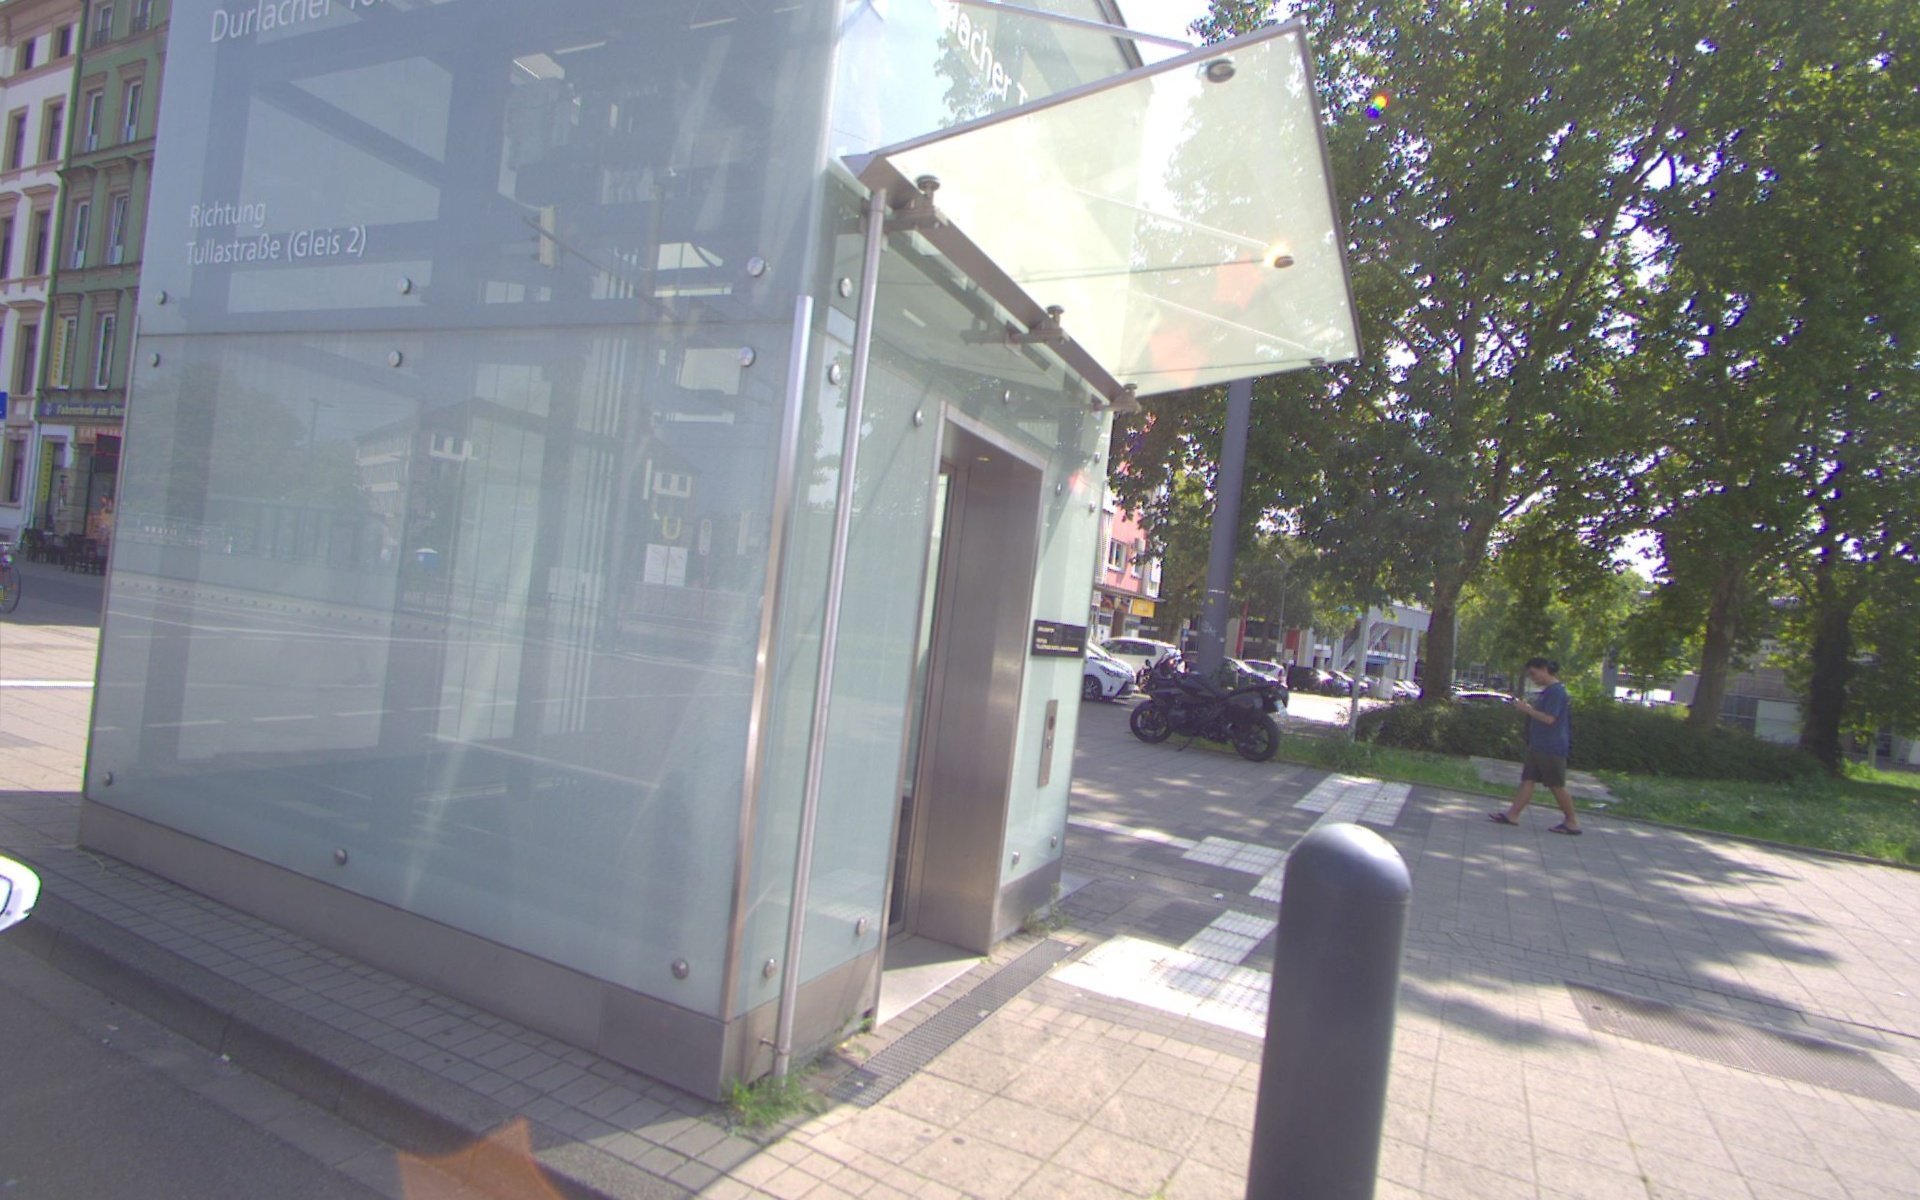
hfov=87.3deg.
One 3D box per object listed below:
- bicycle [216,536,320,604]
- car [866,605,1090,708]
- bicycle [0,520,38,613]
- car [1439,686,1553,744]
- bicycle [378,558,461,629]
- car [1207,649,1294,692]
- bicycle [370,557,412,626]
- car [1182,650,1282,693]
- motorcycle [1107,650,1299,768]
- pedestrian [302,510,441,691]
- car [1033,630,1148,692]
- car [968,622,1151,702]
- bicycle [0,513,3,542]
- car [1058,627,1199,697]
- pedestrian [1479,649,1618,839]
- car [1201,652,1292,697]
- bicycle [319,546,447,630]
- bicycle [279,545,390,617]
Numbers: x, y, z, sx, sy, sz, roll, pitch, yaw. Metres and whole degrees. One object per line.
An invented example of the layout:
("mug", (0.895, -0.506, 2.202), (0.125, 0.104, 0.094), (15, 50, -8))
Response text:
("bicycle", (-15.609, -0.689, 22.667), (2.382, 1.253, 0.940), (6, 0, 31))
("car", (0.386, 1.190, 21.220), (4.171, 1.484, 1.910), (6, -6, 25))
("bicycle", (-14.407, -0.539, 14.950), (1.761, 1.312, 0.473), (5, 0, 30))
("car", (18.399, 3.929, 34.626), (3.235, 1.479, 1.613), (6, -1, 28))
("bicycle", (-11.139, -0.137, 20.717), (1.795, 1.253, 0.409), (7, 0, 26))
("car", (15.081, 3.666, 52.260), (4.001, 1.686, 1.789), (6, 0, 25))
("bicycle", (-11.366, -0.189, 20.117), (0.585, 1.253, 1.534), (6, 0, -29))
("car", (12.275, 3.215, 45.455), (4.001, 1.414, 1.790), (6, -1, 25))
("motorcycle", (3.048, 1.347, 12.750), (2.082, 1.150, 0.908), (6, -1, 40))
("pedestrian", (-6.373, 0.019, 10.920), (0.800, 1.829, 0.821), (6, -1, 28))
("car", (3.936, 1.824, 30.386), (3.043, 1.446, 1.402), (6, 0, 25))
("car", (2.548, 1.564, 25.803), (4.171, 1.488, 1.905), (6, -1, 25))
("bicycle", (-29.785, -2.169, 30.433), (2.429, 1.160, 0.481), (8, 1, 30))
("car", (5.436, 1.980, 32.427), (4.001, 1.686, 1.789), (6, 0, 25))
("pedestrian", (5.625, 1.340, 9.681), (0.933, 1.629, 0.792), (6, 0, 25))
("car", (14.285, 3.704, 50.246), (4.001, 1.686, 1.789), (6, 0, 25))
("bicycle", (-11.267, -0.209, 19.831), (0.888, 1.422, 3.359), (6, -1, -8))
("bicycle", (-13.367, -0.405, 21.483), (2.382, 1.253, 0.940), (6, 0, 31))
